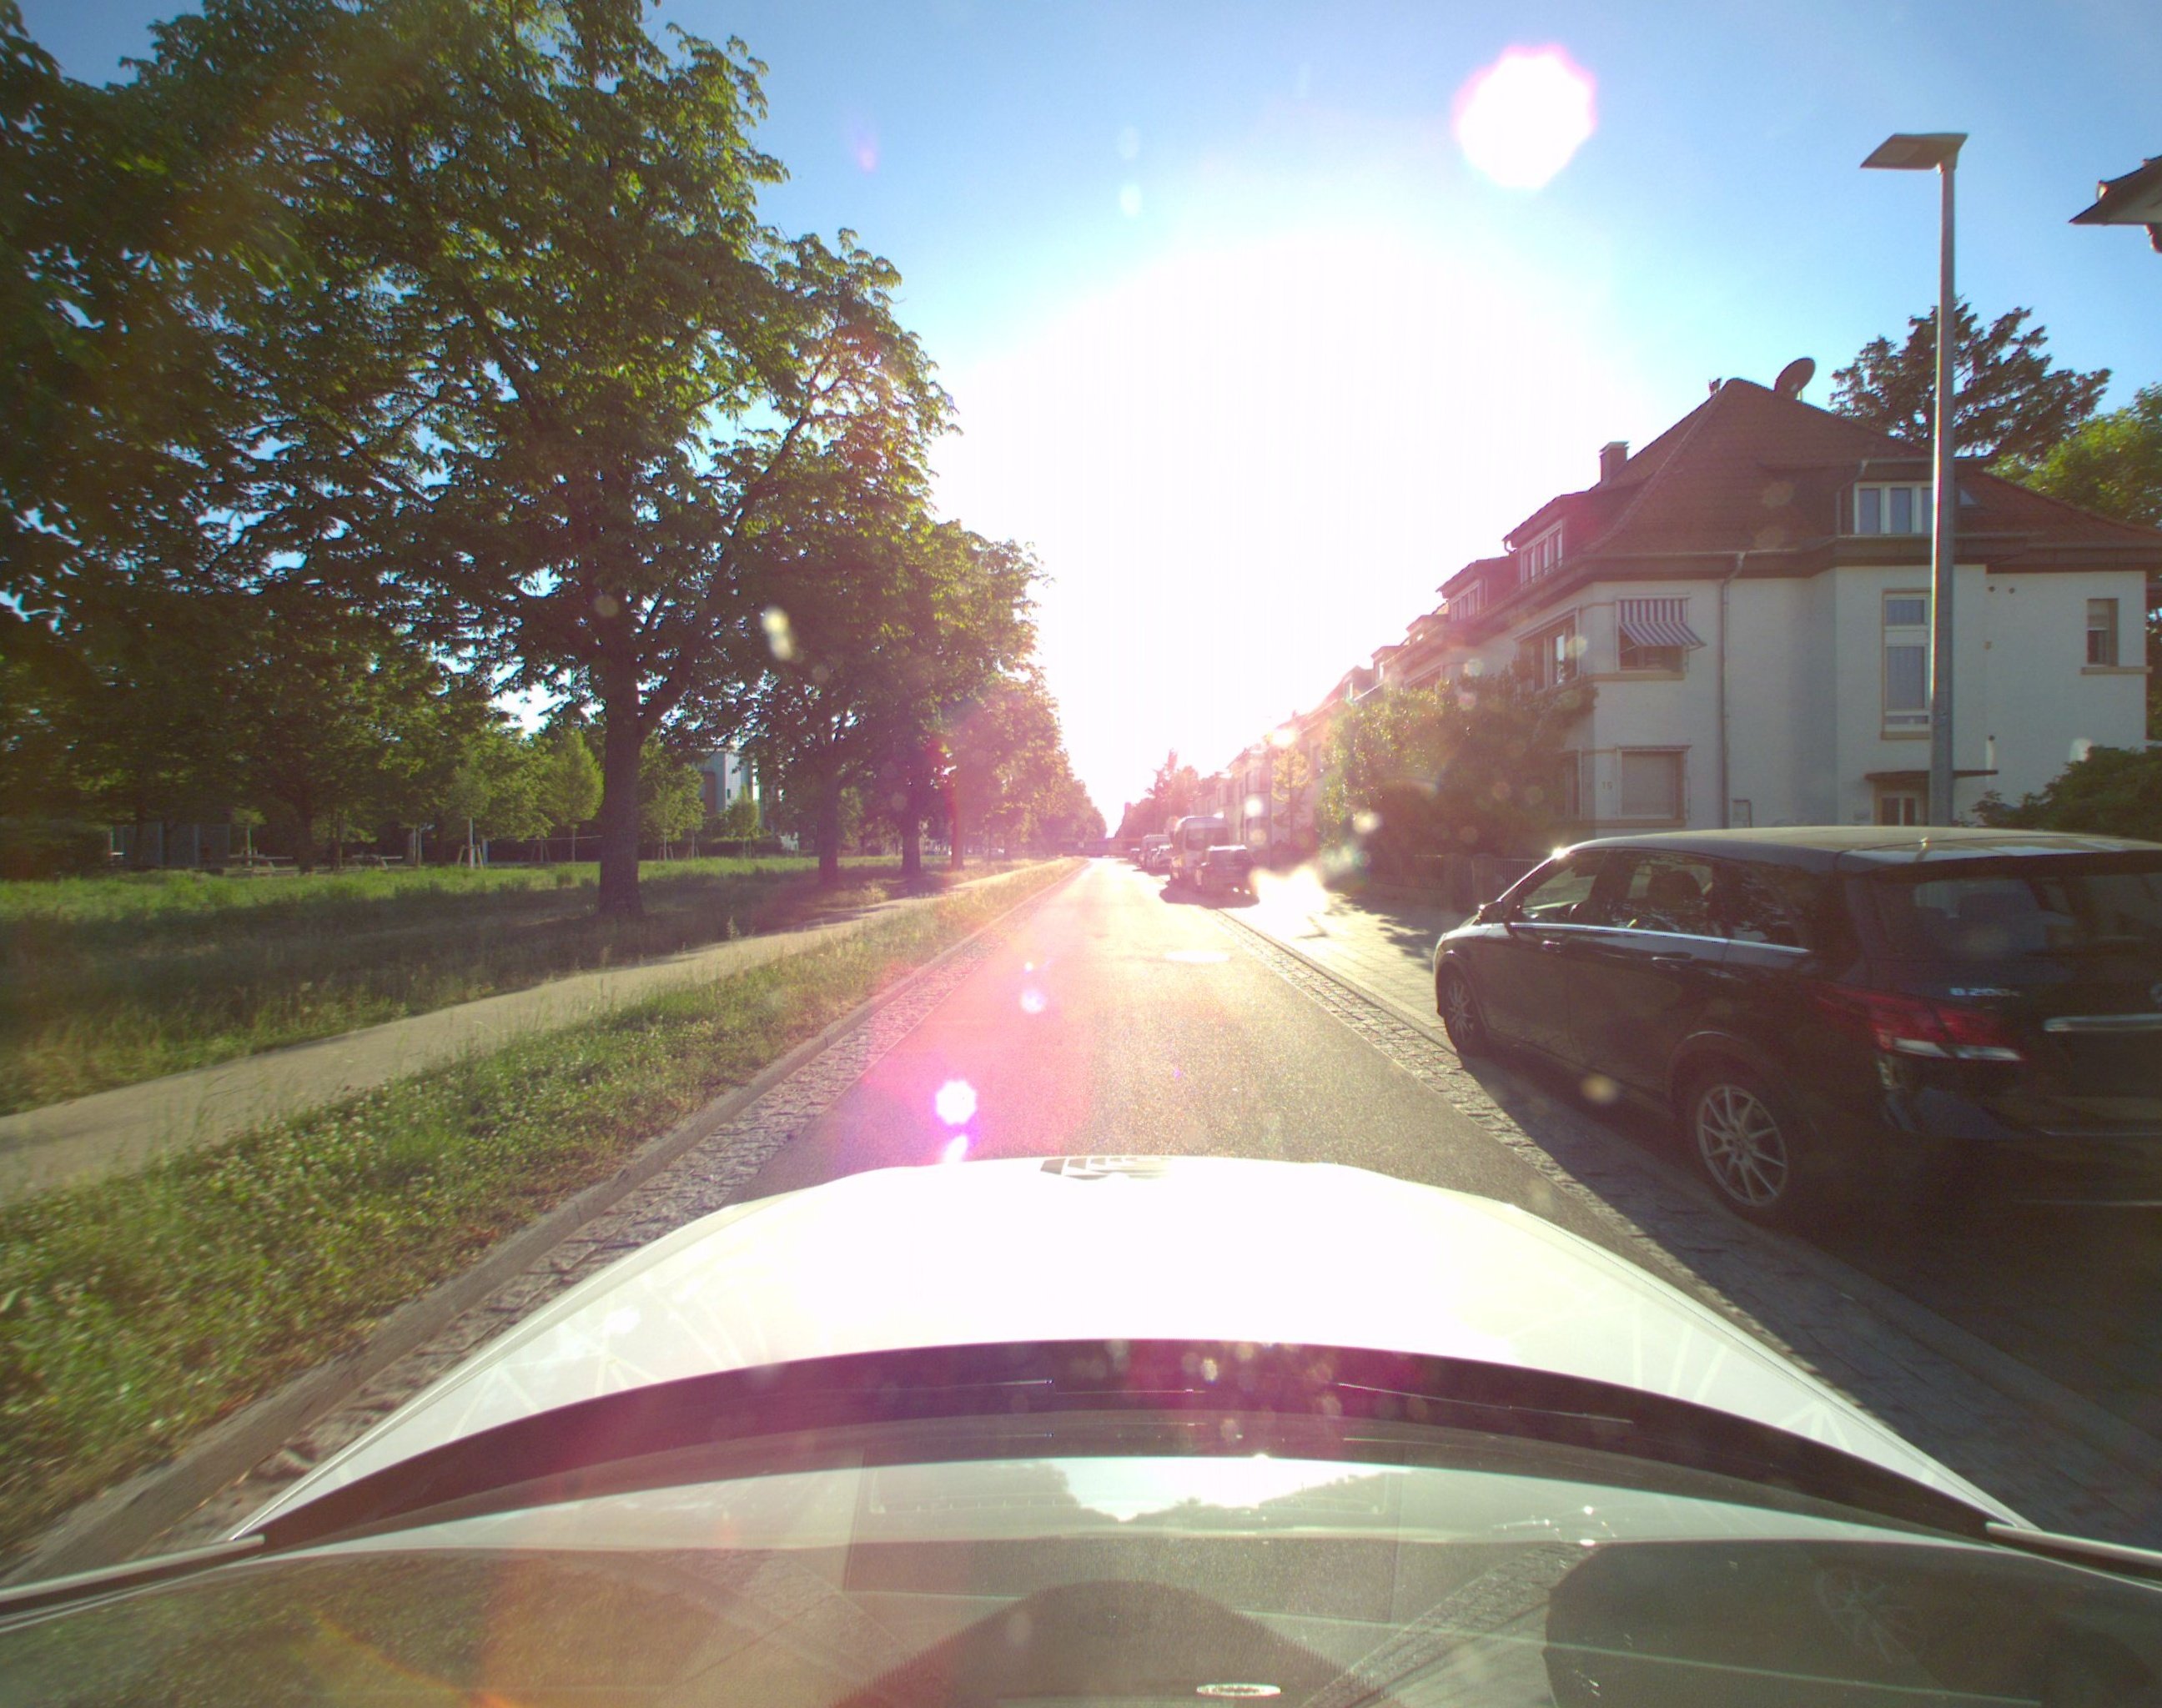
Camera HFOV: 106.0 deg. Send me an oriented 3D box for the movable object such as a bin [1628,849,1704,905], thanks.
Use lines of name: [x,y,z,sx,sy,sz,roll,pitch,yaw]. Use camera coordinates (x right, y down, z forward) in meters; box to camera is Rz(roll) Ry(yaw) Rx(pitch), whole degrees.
movable object such as a bin: [11.779,0.448,16.420,0.980,1.100,0.790,0,0,5]

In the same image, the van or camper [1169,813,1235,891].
van or camper: [4.616,-0.060,31.981,1.936,2.777,5.943,0,0,2]

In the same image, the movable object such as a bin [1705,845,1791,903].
movable object such as a bin: [13.212,0.387,16.154,1.079,1.100,0.790,0,0,5]

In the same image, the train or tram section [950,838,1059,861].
train or tram section: [-13.411,-0.785,145.006,19.028,3.956,3.640,0,0,-3]

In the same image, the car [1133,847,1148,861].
car: [6.855,0.005,94.117,1.643,1.530,3.854,-2,0,3]

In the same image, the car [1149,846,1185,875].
car: [5.306,0.379,50.696,1.831,1.636,4.131,-2,0,1]

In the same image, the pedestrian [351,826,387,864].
pedestrian: [-35.281,-0.448,40.352,1.044,1.881,0.798,0,0,4]

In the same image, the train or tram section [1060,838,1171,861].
train or tram section: [6.046,-0.839,146.108,19.735,3.956,3.640,0,0,-3]

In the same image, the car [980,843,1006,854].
car: [-14.645,-0.849,135.637,4.341,1.764,1.995,0,0,-7]

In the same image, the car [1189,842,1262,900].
car: [4.449,0.493,25.588,1.657,1.593,4.088,-3,0,2]

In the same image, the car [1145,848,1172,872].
car: [5.298,0.391,55.909,1.643,1.530,3.854,-2,0,3]

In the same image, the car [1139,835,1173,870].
car: [5.672,-0.145,62.173,2.119,2.532,5.188,-2,0,0]

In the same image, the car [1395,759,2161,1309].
car: [3.564,0.504,4.751,1.825,1.685,4.418,-3,1,2]

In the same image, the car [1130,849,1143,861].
car: [7.519,0.159,110.984,1.643,1.530,3.854,-2,0,3]

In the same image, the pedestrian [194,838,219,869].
pedestrian: [-41.764,-0.037,38.901,0.587,1.478,0.499,1,0,-8]
